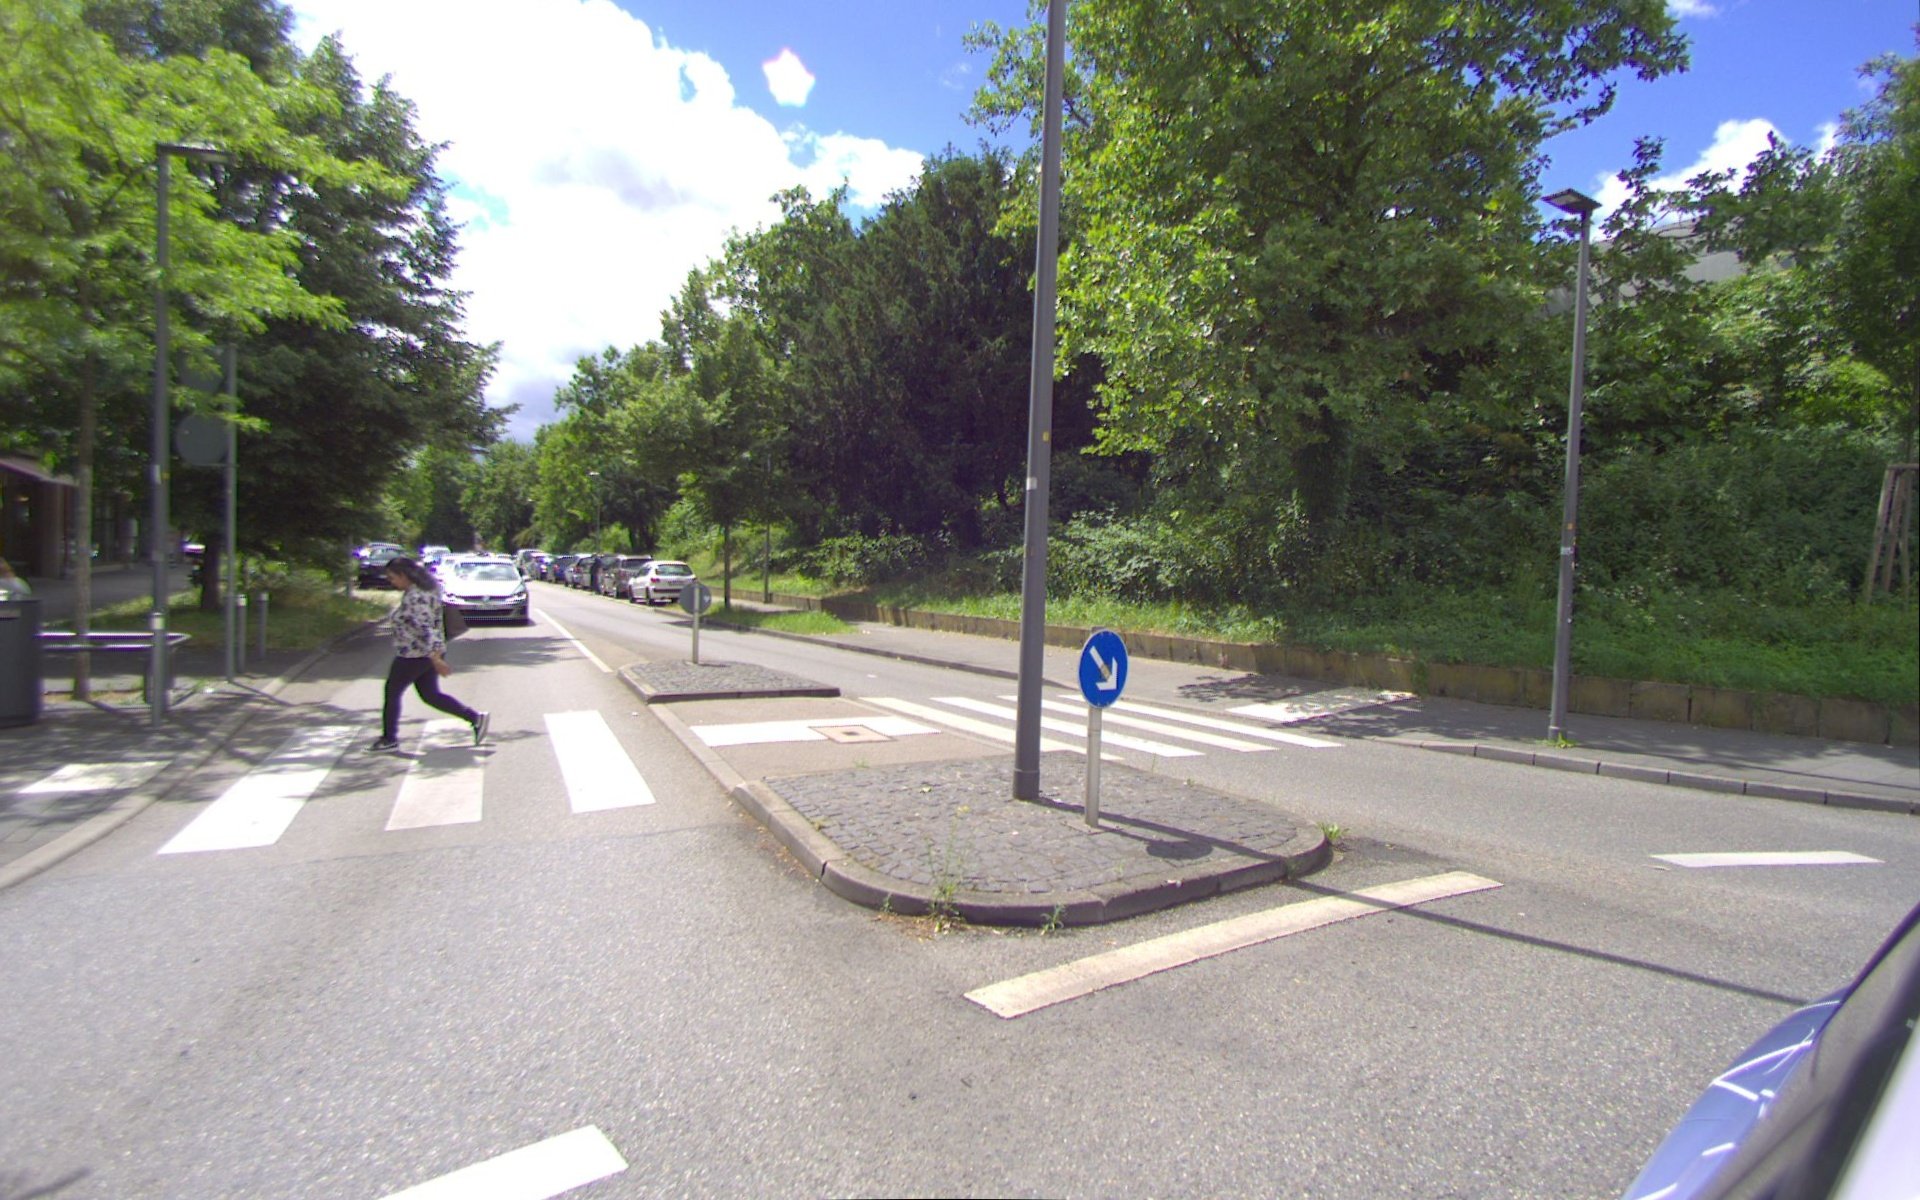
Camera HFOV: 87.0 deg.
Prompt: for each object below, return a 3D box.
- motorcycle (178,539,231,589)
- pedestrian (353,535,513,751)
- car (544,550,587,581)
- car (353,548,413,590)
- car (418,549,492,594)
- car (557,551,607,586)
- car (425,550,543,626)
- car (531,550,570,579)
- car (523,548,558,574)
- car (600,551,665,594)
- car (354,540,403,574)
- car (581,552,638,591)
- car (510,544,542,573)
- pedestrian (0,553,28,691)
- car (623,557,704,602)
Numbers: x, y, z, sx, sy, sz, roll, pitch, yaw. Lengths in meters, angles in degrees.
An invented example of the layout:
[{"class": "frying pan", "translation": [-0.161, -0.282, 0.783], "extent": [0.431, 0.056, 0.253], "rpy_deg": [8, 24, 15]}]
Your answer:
[{"class": "motorcycle", "translation": [-20.819, -1.009, 27.925], "extent": [0.840, 1.307, 2.190], "rpy_deg": [1, 3, -28]}, {"class": "pedestrian", "translation": [-4.100, 0.308, 7.916], "extent": [0.768, 1.573, 0.762], "rpy_deg": [2, 1, 16]}, {"class": "car", "translation": [-20.975, -1.855, 53.704], "extent": [1.894, 1.504, 4.009], "rpy_deg": [1, 2, -24]}, {"class": "car", "translation": [-22.950, -1.250, 40.361], "extent": [1.959, 1.526, 4.592], "rpy_deg": [1, 1, -29]}, {"class": "car", "translation": [-18.512, -1.066, 36.975], "extent": [1.961, 1.526, 4.589], "rpy_deg": [0, 2, -32]}, {"class": "car", "translation": [-17.779, -1.493, 47.514], "extent": [1.894, 1.504, 4.009], "rpy_deg": [1, 2, -24]}, {"class": "car", "translation": [-10.854, -0.355, 22.895], "extent": [1.960, 1.526, 4.590], "rpy_deg": [-1, 3, -31]}, {"class": "car", "translation": [-23.463, -2.045, 57.894], "extent": [1.894, 1.504, 4.009], "rpy_deg": [1, 2, -24]}, {"class": "car", "translation": [-26.066, -2.415, 62.780], "extent": [1.894, 1.504, 4.009], "rpy_deg": [1, 2, -24]}, {"class": "car", "translation": [-12.519, -1.064, 38.515], "extent": [1.894, 1.504, 4.009], "rpy_deg": [1, 2, -24]}, {"class": "car", "translation": [-28.839, -2.142, 50.103], "extent": [1.960, 1.526, 4.589], "rpy_deg": [1, 2, -32]}, {"class": "car", "translation": [-14.625, -1.214, 42.109], "extent": [1.894, 1.504, 4.009], "rpy_deg": [1, 2, -24]}, {"class": "car", "translation": [-29.444, -2.787, 68.550], "extent": [1.894, 1.826, 4.009], "rpy_deg": [2, 2, -24]}, {"class": "pedestrian", "translation": [-9.428, 0.197, 9.578], "extent": [0.683, 1.301, 0.619], "rpy_deg": [2, 1, -19]}, {"class": "car", "translation": [-9.879, -0.729, 33.541], "extent": [1.722, 1.346, 4.006], "rpy_deg": [-2, 4, -29]}]
